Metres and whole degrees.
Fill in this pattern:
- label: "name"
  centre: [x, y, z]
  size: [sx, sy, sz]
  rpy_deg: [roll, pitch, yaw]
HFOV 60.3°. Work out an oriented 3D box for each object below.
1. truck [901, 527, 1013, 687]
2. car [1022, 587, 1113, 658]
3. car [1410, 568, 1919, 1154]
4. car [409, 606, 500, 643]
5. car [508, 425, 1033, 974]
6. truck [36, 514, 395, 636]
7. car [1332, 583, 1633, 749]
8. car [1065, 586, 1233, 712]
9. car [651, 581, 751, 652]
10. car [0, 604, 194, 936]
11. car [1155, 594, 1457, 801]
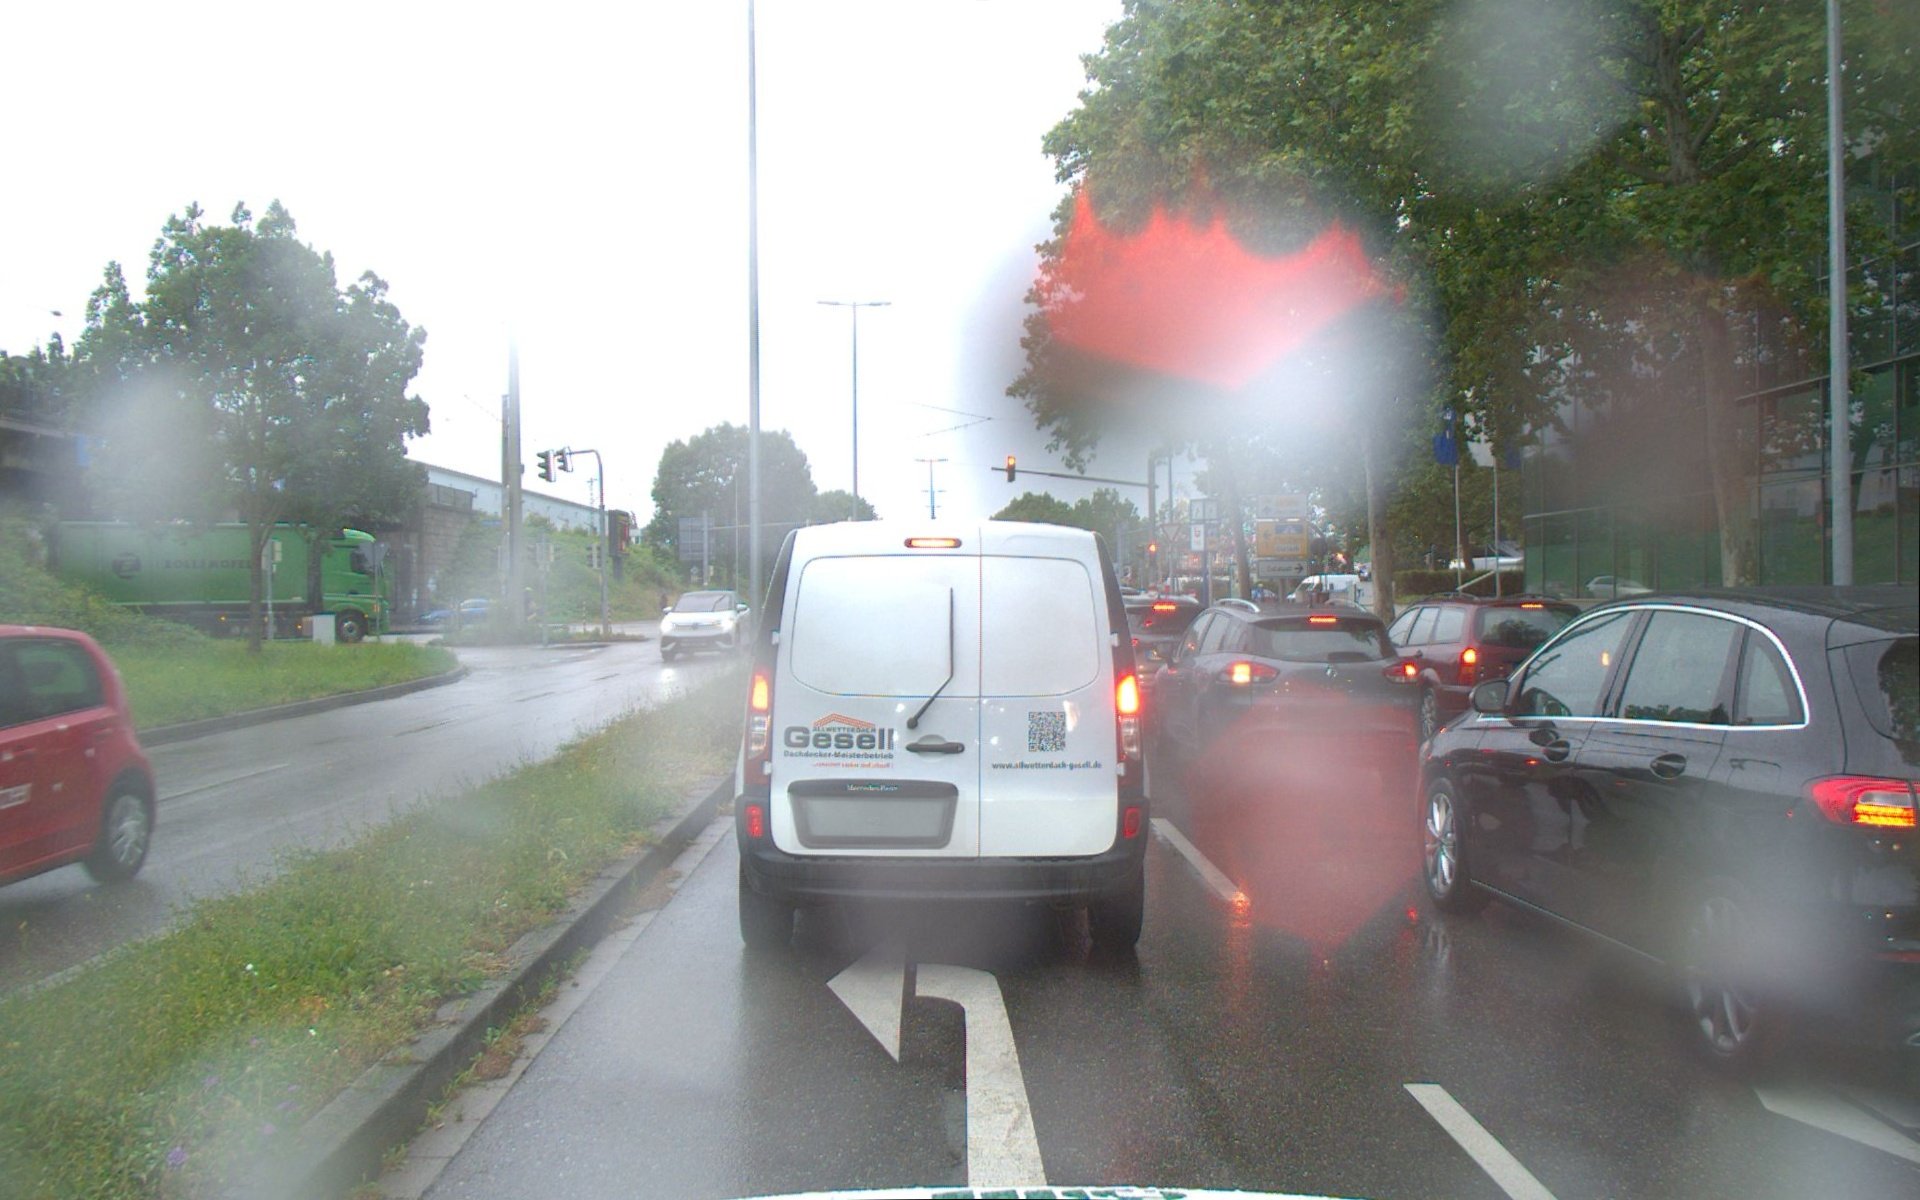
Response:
- label: "truck"
  centre: [-0.119, 0.113, 28.056]
  size: [1.721, 2.509, 3.998]
  rpy_deg: [0, 0, -3]
- label: "car"
  centre: [2.327, 0.446, 36.629]
  size: [1.677, 1.470, 3.999]
  rpy_deg: [0, 1, -1]
- label: "car"
  centre: [3.223, 0.665, 6.485]
  size: [1.674, 1.577, 3.998]
  rpy_deg: [0, 1, -3]
- label: "car"
  centre: [-23.985, 1.141, 78.487]
  size: [3.888, 1.551, 1.760]
  rpy_deg: [-2, 1, -27]
- label: "car"
  centre: [-0.791, 0.378, 8.229]
  size: [1.953, 2.049, 3.998]
  rpy_deg: [0, 0, -3]
- label: "truck"
  centre: [-23.320, -0.644, 52.352]
  size: [10.038, 3.512, 2.622]
  rpy_deg: [1, -2, -38]
- label: "car"
  centre: [5.419, 0.633, 17.740]
  size: [1.802, 1.563, 4.110]
  rpy_deg: [1, 0, -2]
- label: "car"
  centre: [2.367, 0.562, 21.595]
  size: [1.677, 1.470, 3.999]
  rpy_deg: [0, 1, -1]
- label: "car"
  centre: [-6.297, 0.360, 40.621]
  size: [1.923, 1.551, 4.332]
  rpy_deg: [-2, 1, -3]
- label: "car"
  centre: [-5.407, 0.850, 8.000]
  size: [1.681, 1.540, 3.614]
  rpy_deg: [-2, 1, 0]
- label: "car"
  centre: [2.760, 0.704, 14.055]
  size: [1.677, 1.470, 3.999]
  rpy_deg: [0, 1, -1]
